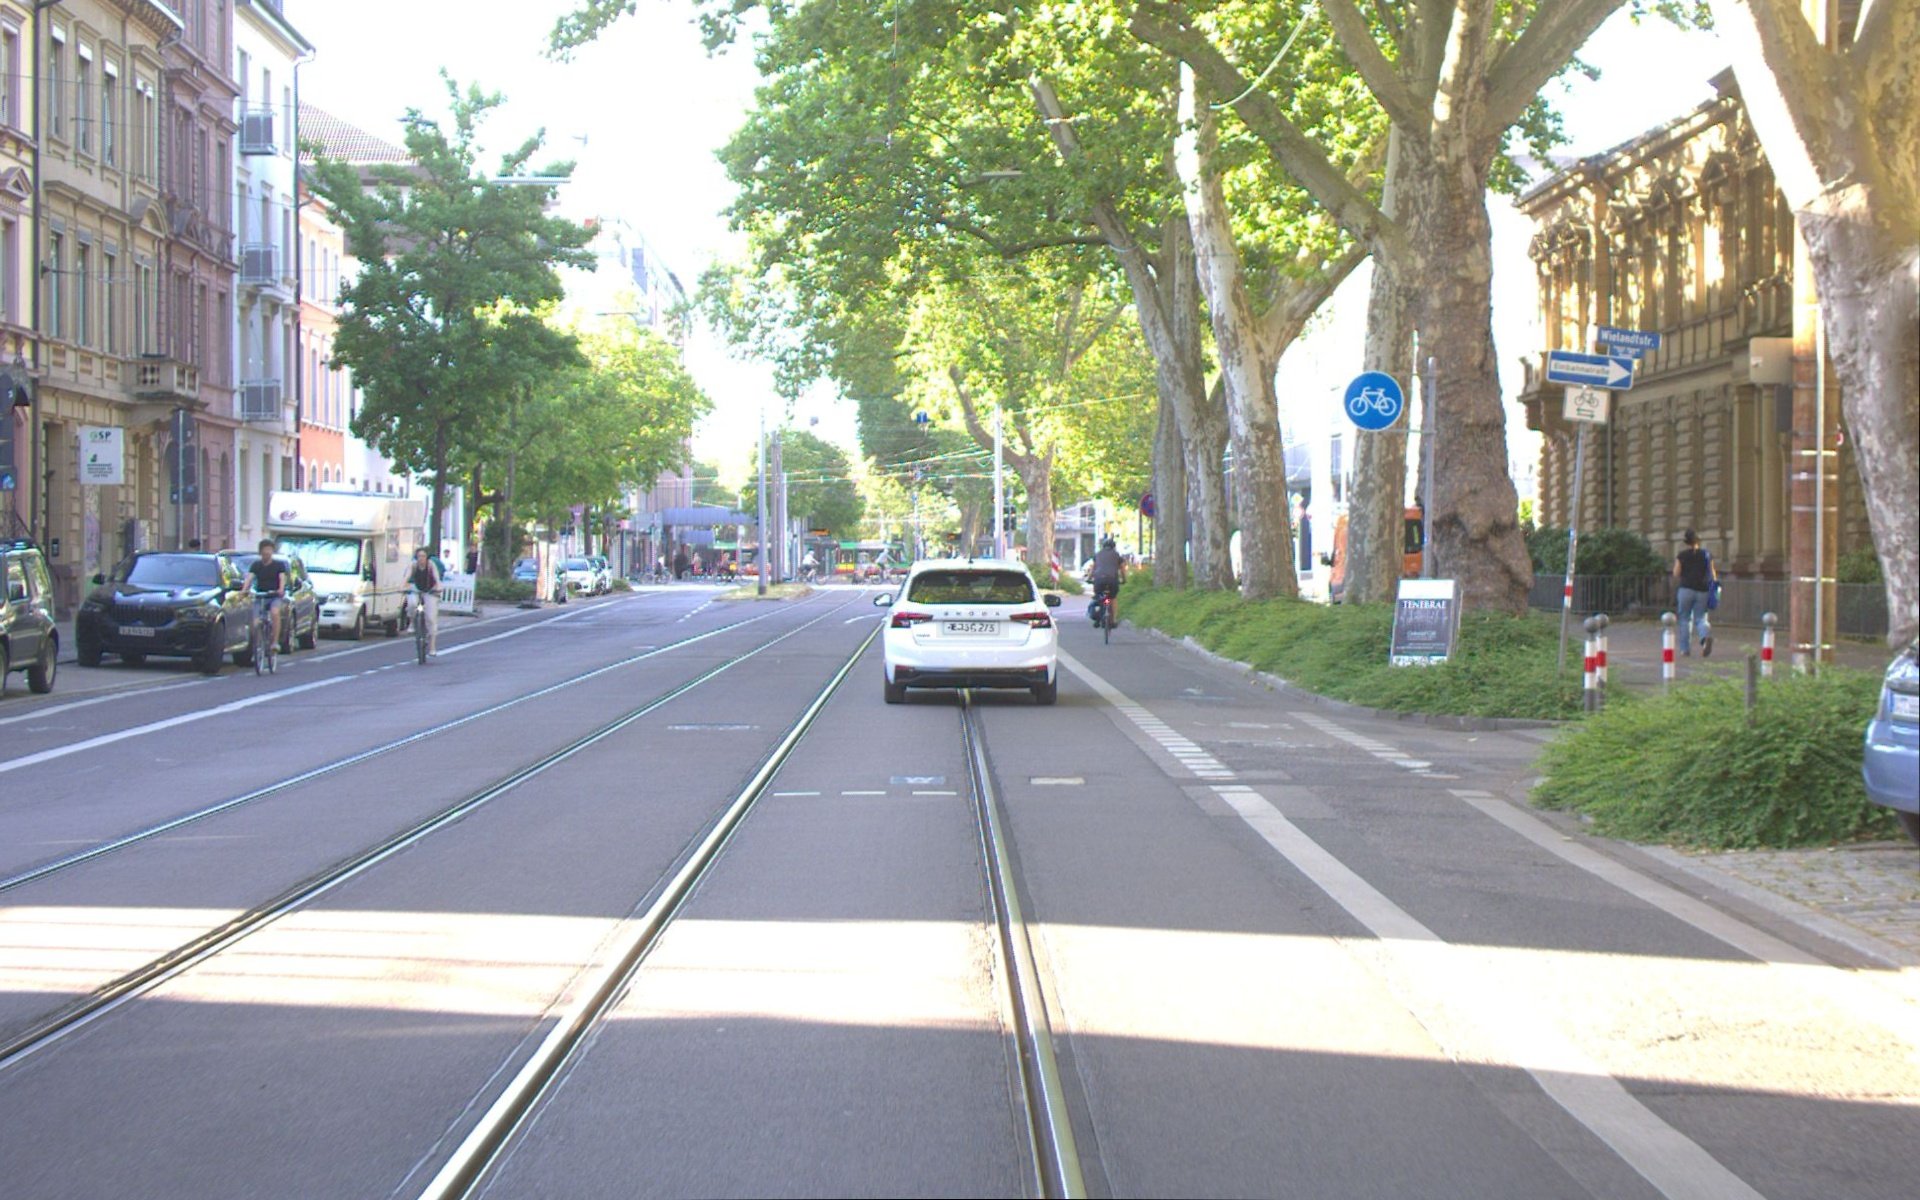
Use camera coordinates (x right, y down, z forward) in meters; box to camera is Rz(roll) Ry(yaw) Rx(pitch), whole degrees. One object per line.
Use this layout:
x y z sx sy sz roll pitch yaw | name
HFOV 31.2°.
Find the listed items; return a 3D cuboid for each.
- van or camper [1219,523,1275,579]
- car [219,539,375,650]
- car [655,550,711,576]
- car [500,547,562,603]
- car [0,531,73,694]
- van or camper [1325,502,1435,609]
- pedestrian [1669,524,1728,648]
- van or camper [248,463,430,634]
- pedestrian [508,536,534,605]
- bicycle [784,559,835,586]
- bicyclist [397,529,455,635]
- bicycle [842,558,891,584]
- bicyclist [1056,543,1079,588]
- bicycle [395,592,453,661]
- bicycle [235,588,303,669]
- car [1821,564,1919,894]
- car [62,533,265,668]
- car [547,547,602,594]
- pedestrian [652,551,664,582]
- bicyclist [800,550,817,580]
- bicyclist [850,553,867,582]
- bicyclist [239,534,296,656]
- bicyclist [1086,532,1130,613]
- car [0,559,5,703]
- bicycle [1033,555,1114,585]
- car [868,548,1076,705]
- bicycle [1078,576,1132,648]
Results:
12.380 -2.094 148.396 1.993 2.335 4.000 1 1 -1 | van or camper
-11.225 -0.114 58.474 1.964 1.775 4.471 1 1 -3 | car
-20.287 -2.680 252.041 3.794 1.812 1.803 1 0 5 | car
-13.470 -0.793 108.098 1.641 1.720 3.785 1 1 -3 | car
-11.043 0.091 38.116 1.555 1.726 3.686 1 1 -2 | car
10.068 -1.062 82.808 2.027 2.455 5.108 1 1 1 | van or camper
9.905 -0.188 46.085 0.648 1.627 0.871 2 0 18 | pedestrian
-12.126 -1.004 67.659 2.216 3.129 7.113 1 1 0 | van or camper
-12.801 -0.857 100.198 0.601 1.996 0.749 1 1 3 | pedestrian
-7.733 -1.421 176.644 2.680 1.323 0.615 -1 1 -35 | bicycle
-7.655 -0.259 49.299 0.638 1.498 1.070 -1 0 0 | bicyclist
-4.851 -1.514 178.810 2.680 1.323 0.615 -1 1 -35 | bicycle
3.798 -1.231 121.466 0.737 1.583 0.586 0 1 11 | bicyclist
-7.688 0.370 49.385 0.499 0.940 1.921 -2 1 0 | bicycle
-9.405 0.381 46.842 0.484 1.044 2.039 -2 1 0 | bicycle
6.266 0.601 16.621 3.751 1.503 1.681 1 1 -1 | car
-11.475 -0.031 49.868 1.964 1.775 4.938 3 1 -3 | car
-14.657 -1.130 130.791 1.794 1.720 3.785 1 1 -3 | car
-15.256 -1.681 173.793 0.512 1.541 0.463 1 0 -1 | pedestrian
-7.782 -1.795 176.603 0.631 1.517 0.610 -1 2 -35 | bicyclist
-5.259 -1.694 178.516 0.631 1.517 0.610 -1 2 -35 | bicyclist
-9.439 -0.069 46.870 0.535 1.629 0.896 -2 0 0 | bicyclist
2.478 -0.458 57.555 0.679 1.334 0.525 1 0 -1 | bicyclist
-10.814 0.333 33.629 1.827 1.497 4.450 1 1 -2 | car
4.019 -1.072 121.390 2.771 0.996 0.592 2 0 14 | bicycle
0.065 0.236 34.926 1.842 1.475 3.839 1 1 -3 | car
2.418 0.180 57.611 0.680 1.151 2.964 1 1 -1 | bicycle
